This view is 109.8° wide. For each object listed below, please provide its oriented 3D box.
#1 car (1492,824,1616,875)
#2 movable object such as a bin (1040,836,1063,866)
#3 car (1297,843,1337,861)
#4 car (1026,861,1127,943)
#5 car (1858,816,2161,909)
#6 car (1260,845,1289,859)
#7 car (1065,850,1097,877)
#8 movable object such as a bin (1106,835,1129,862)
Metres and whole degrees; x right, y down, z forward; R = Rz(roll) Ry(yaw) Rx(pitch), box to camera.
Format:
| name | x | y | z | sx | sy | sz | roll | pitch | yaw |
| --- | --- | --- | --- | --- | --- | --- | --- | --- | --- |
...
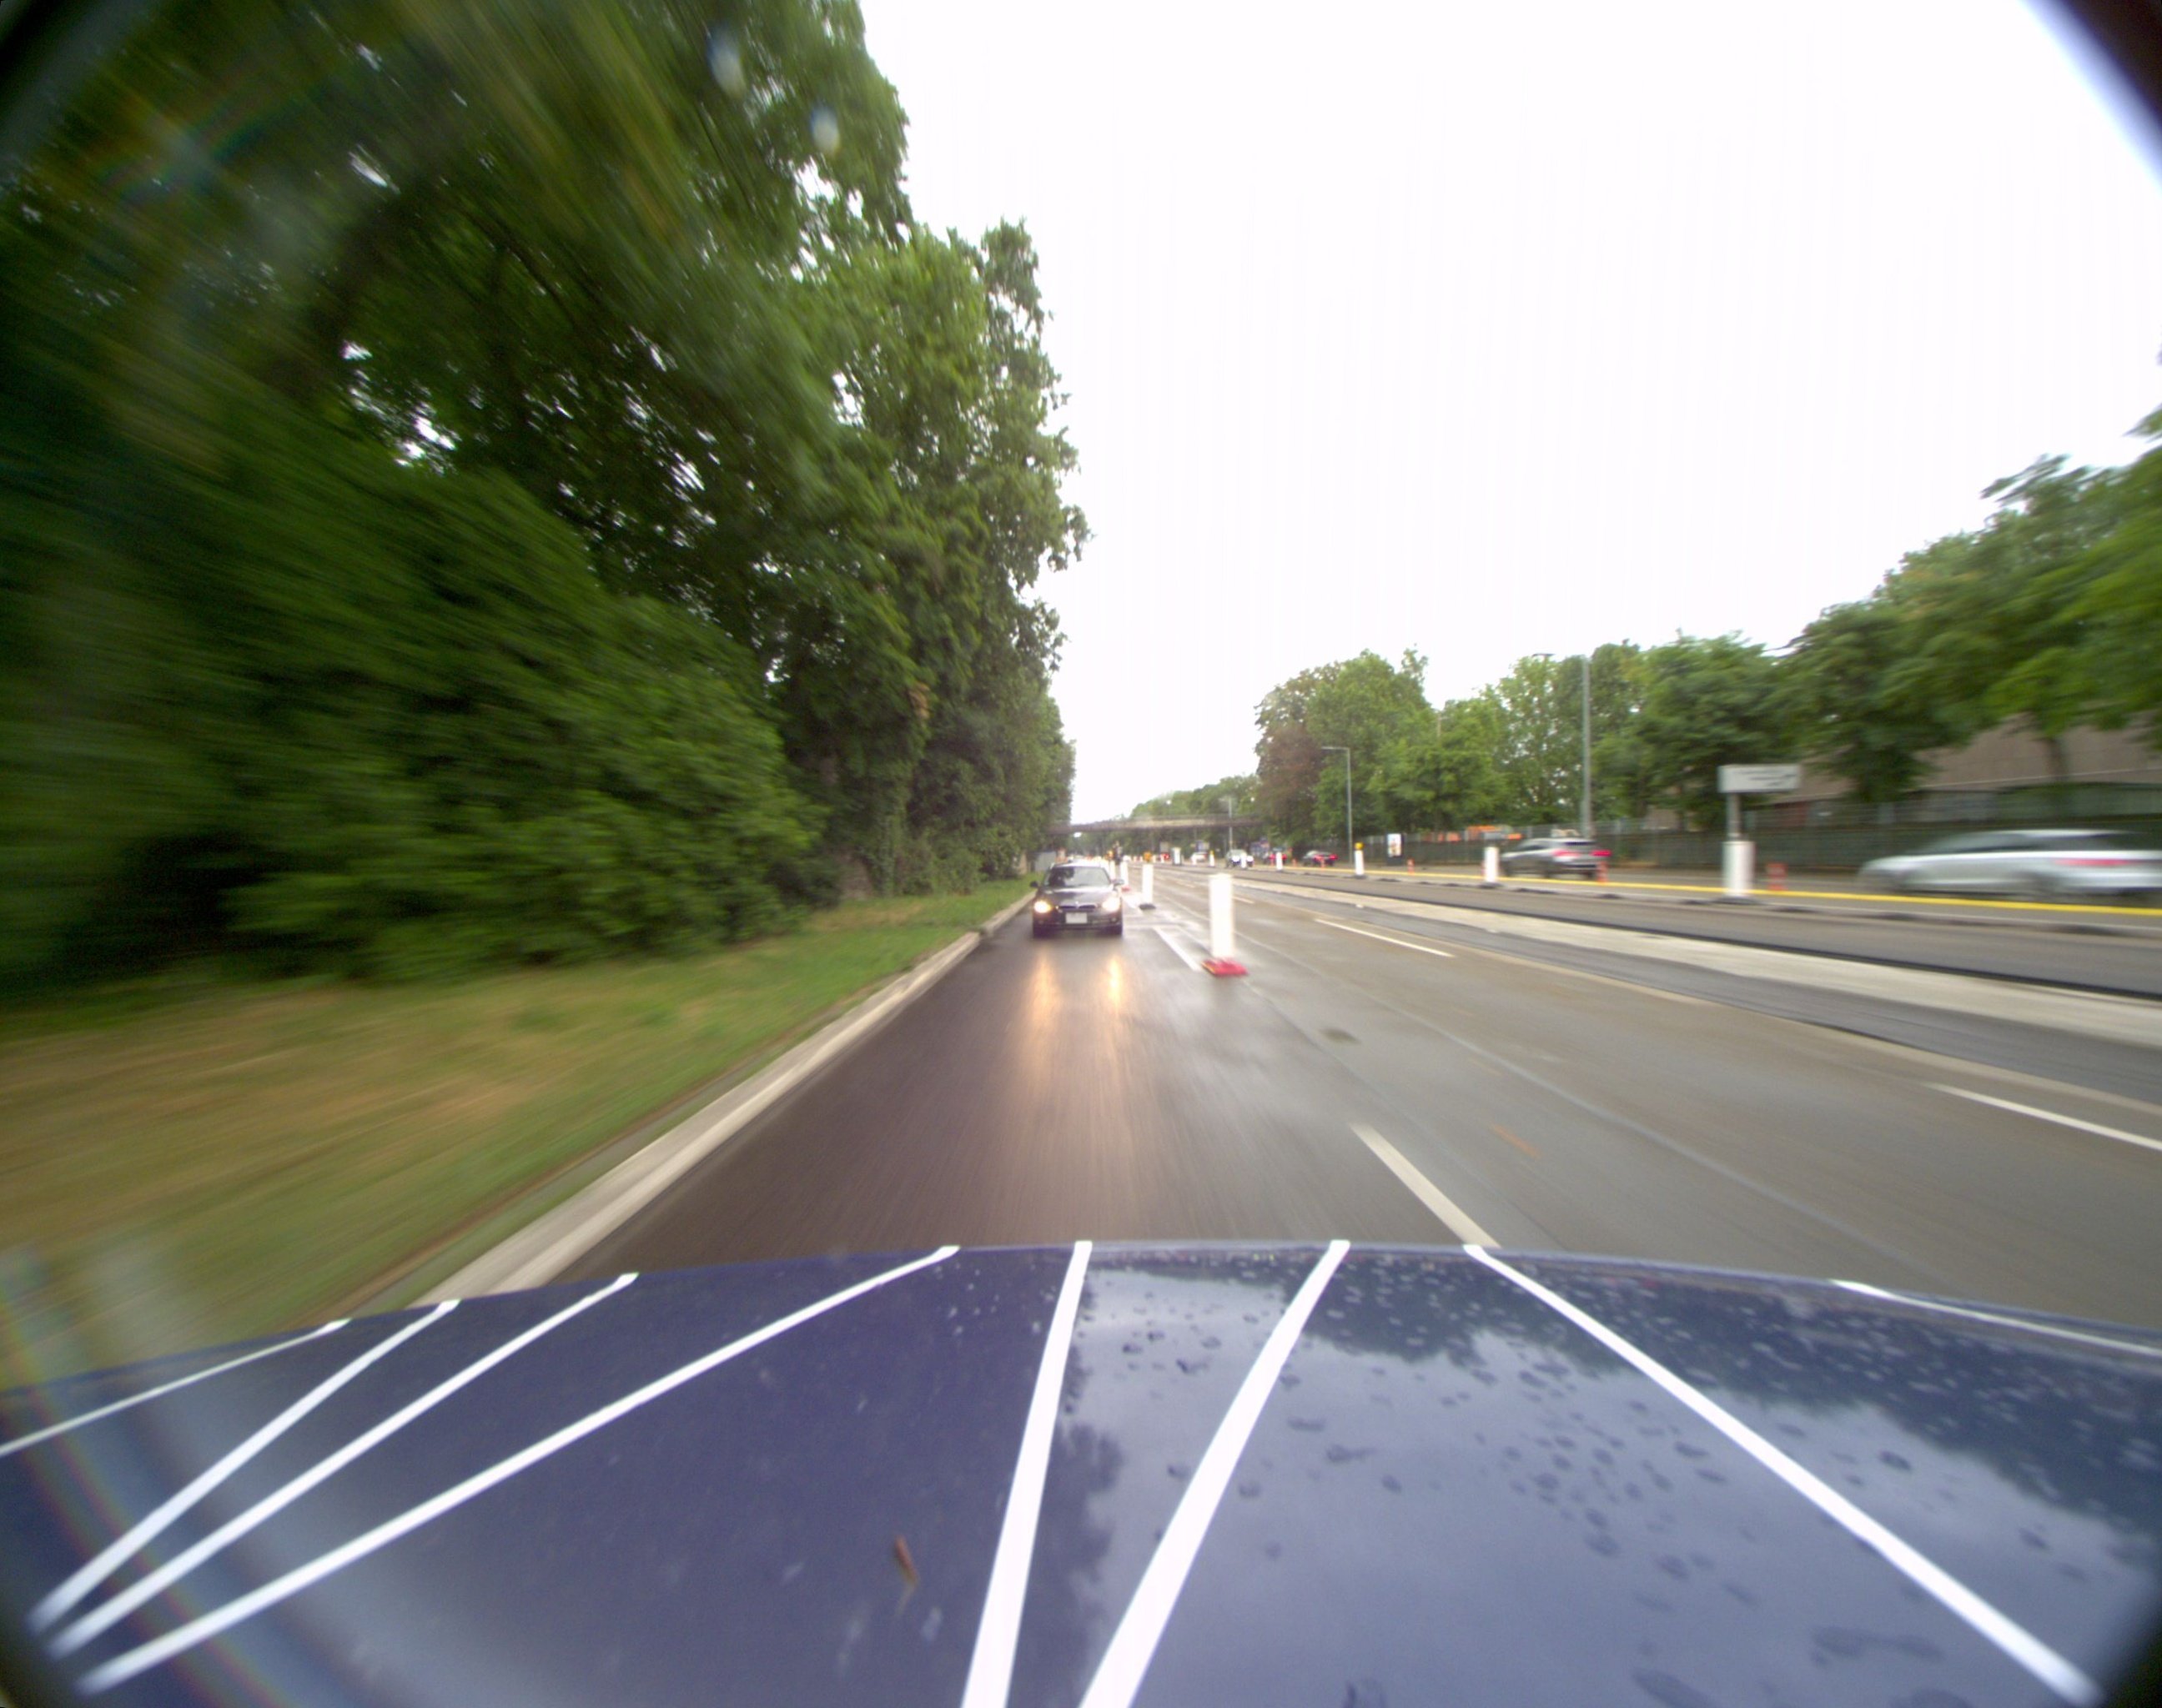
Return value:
| name | x | y | z | sx | sy | sz | roll | pitch | yaw |
| --- | --- | --- | --- | --- | --- | --- | --- | --- | --- |
| car | 18.377 | -0.174 | 29.830 | 1.993 | 1.758 | 4.674 | -2 | 1 | 2 |
| movable object such as a bin | -3.987 | -0.396 | 104.439 | 2.890 | 3.917 | 6.104 | -3 | 1 | -1 |
| car | 21.055 | -0.214 | 68.002 | 2.051 | 1.446 | 4.764 | -2 | 1 | 0 |
| car | -0.128 | 0.914 | 16.246 | 1.838 | 1.397 | 3.999 | -3 | 1 | -1 |
| car | 18.265 | 0.113 | 14.968 | 1.808 | 1.525 | 3.991 | -2 | 1 | 0 |
| car | 21.257 | -0.182 | 83.463 | 1.999 | 1.421 | 4.264 | -2 | 0 | -1 |
| car | -0.006 | 0.631 | 51.978 | 1.998 | 1.650 | 4.229 | -2 | 1 | 0 |
| movable object such as a bin | 6.484 | -0.948 | 136.426 | 3.527 | 4.495 | 10.068 | -2 | 1 | 0 |
